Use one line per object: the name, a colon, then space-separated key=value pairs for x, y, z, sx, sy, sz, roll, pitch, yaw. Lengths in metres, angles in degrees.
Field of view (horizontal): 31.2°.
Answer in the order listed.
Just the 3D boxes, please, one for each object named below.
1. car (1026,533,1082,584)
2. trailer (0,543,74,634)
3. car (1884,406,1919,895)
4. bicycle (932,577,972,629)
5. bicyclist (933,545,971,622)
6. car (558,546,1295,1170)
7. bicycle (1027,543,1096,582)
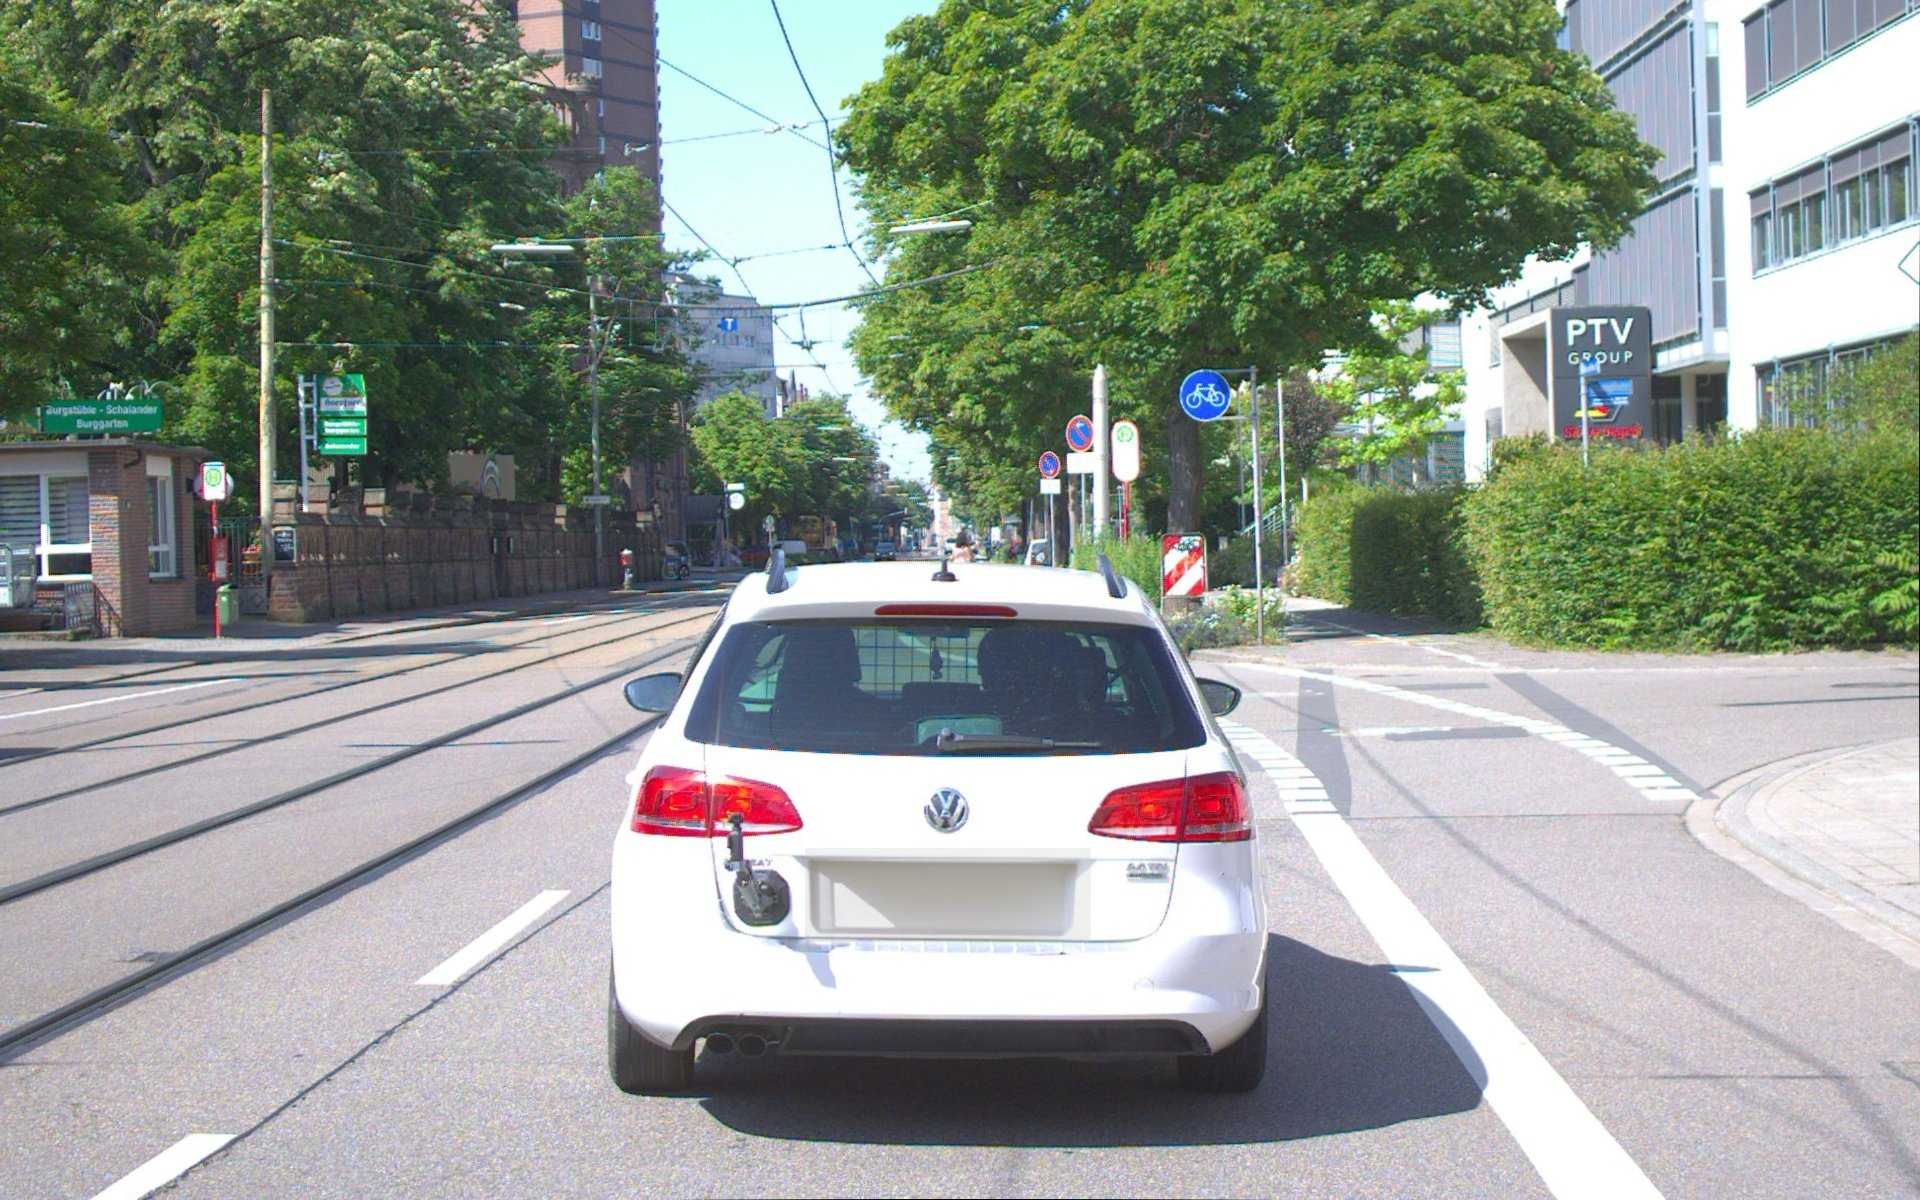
car: x=2.779 y=-1.256 z=102.460 sx=1.590 sy=1.446 sz=3.946 roll=-2 pitch=1 yaw=1
trailer: x=-17.050 y=-0.183 z=58.948 sx=3.215 sy=1.520 sz=1.778 roll=-1 pitch=1 yaw=2
car: x=4.947 y=0.209 z=12.058 sx=1.976 sy=2.047 sz=5.191 roll=-3 pitch=1 yaw=1
bicycle: x=-0.160 y=0.062 z=74.255 sx=0.811 sy=1.074 sz=2.012 roll=-1 pitch=1 yaw=1
bicyclist: x=-0.171 y=-0.363 z=74.320 sx=0.786 sy=1.623 sz=0.738 roll=-1 pitch=1 yaw=1
car: x=-0.058 y=0.583 z=10.427 sx=1.754 sy=1.437 sz=4.413 roll=0 pitch=1 yaw=1
bicycle: x=2.851 y=-1.057 z=96.490 sx=1.911 sy=1.079 sz=0.551 roll=0 pitch=1 yaw=-2
